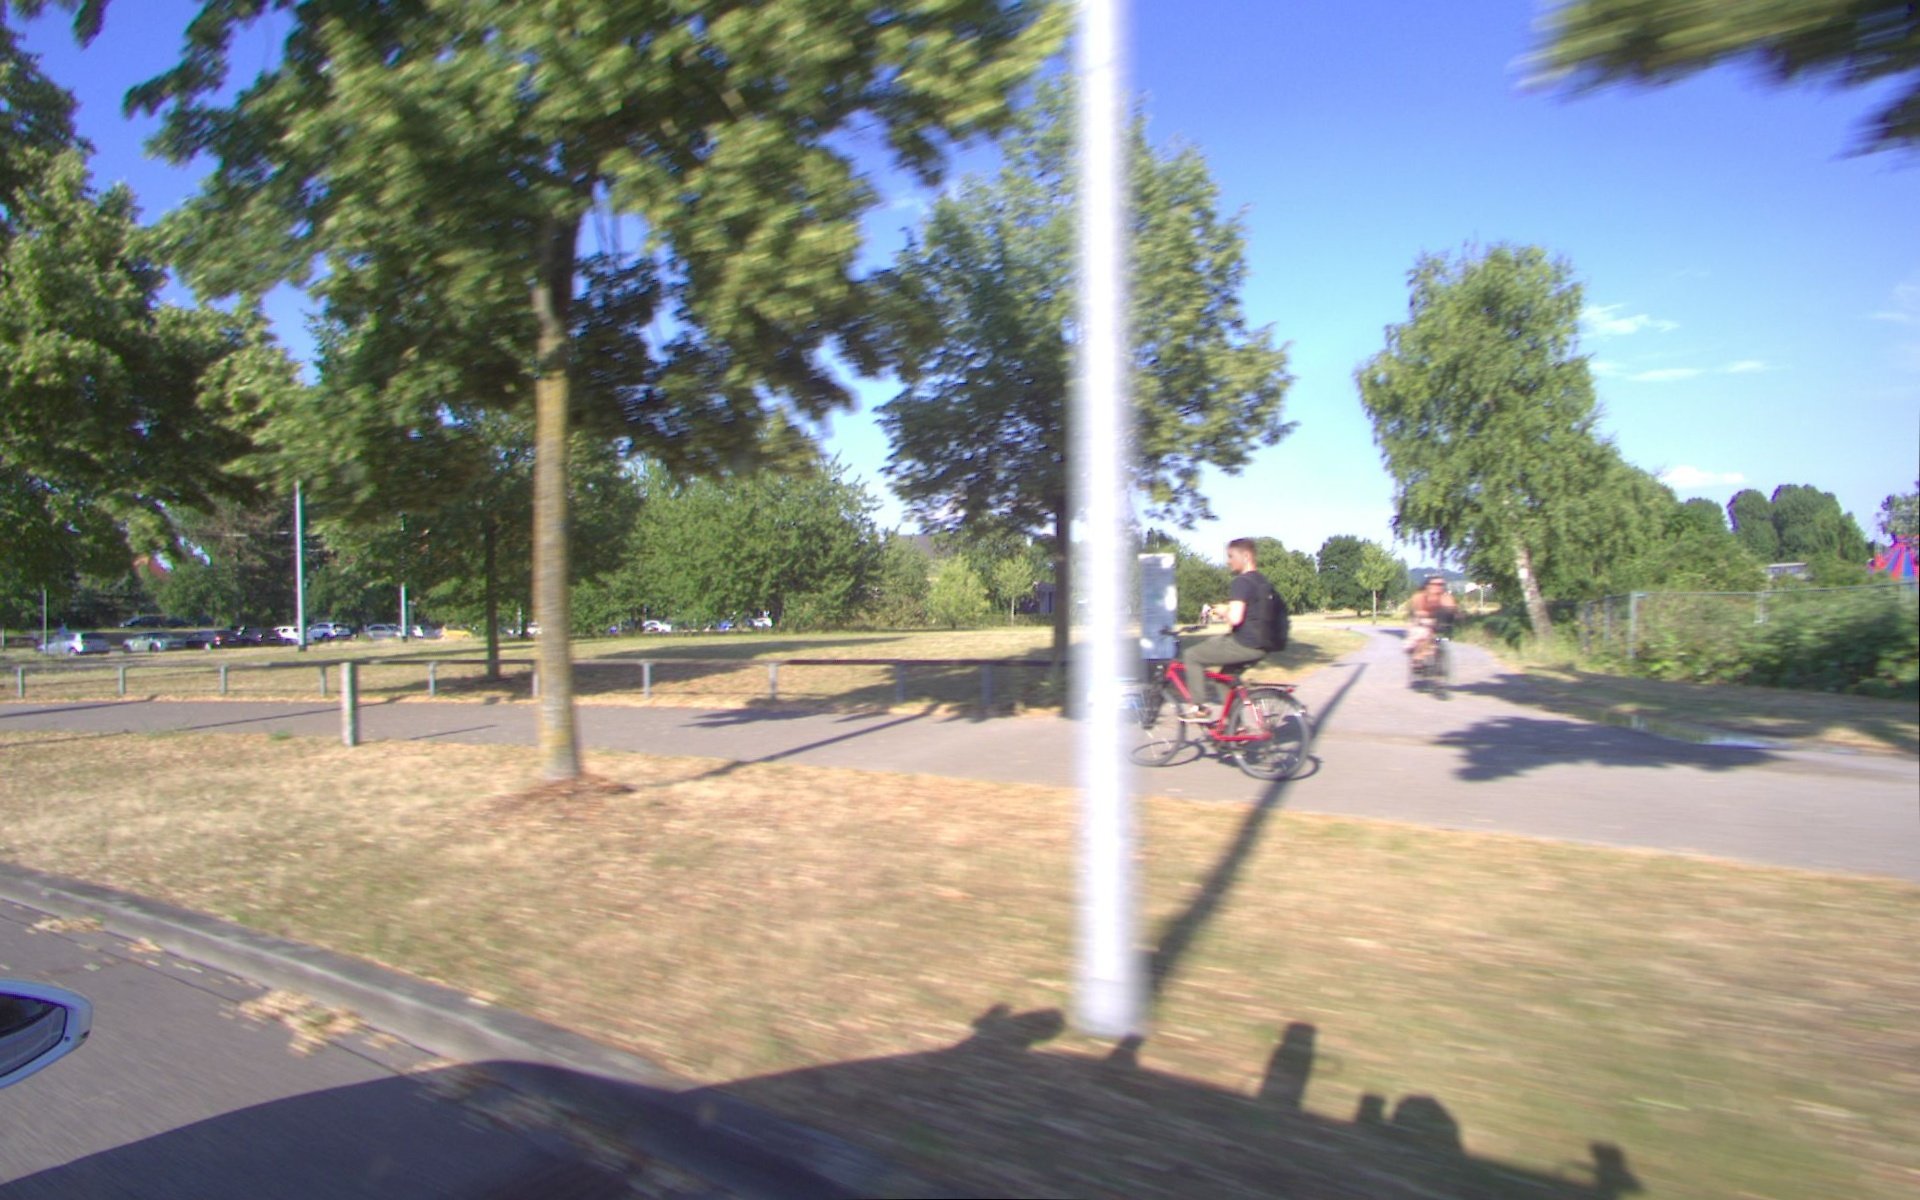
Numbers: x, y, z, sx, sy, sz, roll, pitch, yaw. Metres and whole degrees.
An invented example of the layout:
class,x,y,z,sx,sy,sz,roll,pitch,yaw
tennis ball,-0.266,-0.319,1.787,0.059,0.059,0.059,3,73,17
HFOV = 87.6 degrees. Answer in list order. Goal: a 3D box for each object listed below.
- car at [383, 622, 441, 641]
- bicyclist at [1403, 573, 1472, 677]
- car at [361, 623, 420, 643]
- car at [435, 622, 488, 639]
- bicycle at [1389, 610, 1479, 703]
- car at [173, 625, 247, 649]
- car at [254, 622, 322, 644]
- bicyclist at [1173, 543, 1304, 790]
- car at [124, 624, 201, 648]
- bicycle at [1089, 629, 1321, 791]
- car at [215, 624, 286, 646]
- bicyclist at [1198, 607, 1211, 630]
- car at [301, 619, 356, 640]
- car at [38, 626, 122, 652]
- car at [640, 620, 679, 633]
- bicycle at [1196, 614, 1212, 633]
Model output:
class,x,y,z,sx,sy,sz,roll,pitch,yaw
car,-44.400,2.562,81.125,3.928,1.421,1.825,-1,-1,16
bicyclist,6.580,0.346,13.836,0.548,1.381,0.980,-1,0,5
car,-44.741,2.591,78.689,3.928,1.421,1.825,-1,-1,16
car,-43.061,2.641,86.544,3.928,1.421,1.825,-1,-1,16
bicycle,6.507,0.736,13.824,0.482,1.172,1.828,-1,1,4
car,-48.851,2.415,65.244,3.928,1.421,1.825,-1,-1,16
car,-47.349,2.325,70.565,3.928,1.421,1.825,-1,-1,16
bicyclist,2.221,0.494,7.988,0.820,1.855,0.616,1,2,41
car,-49.941,2.267,62.696,3.928,1.421,1.825,-1,-1,16
bicycle,1.955,0.839,8.206,1.869,1.174,0.412,-1,1,42
car,-47.856,2.370,67.554,3.928,1.421,1.825,-1,-1,16
bicyclist,19.413,1.460,79.516,0.626,1.801,0.928,-1,-2,-15
car,-54.367,2.549,86.188,3.928,1.694,1.825,-1,-1,16
car,-51.134,2.261,58.214,3.928,1.421,1.825,-1,-1,16
car,-34.587,3.061,115.174,3.928,1.421,1.825,-1,-1,16
bicycle,19.400,1.893,79.643,0.385,1.468,1.942,-1,-3,-15
